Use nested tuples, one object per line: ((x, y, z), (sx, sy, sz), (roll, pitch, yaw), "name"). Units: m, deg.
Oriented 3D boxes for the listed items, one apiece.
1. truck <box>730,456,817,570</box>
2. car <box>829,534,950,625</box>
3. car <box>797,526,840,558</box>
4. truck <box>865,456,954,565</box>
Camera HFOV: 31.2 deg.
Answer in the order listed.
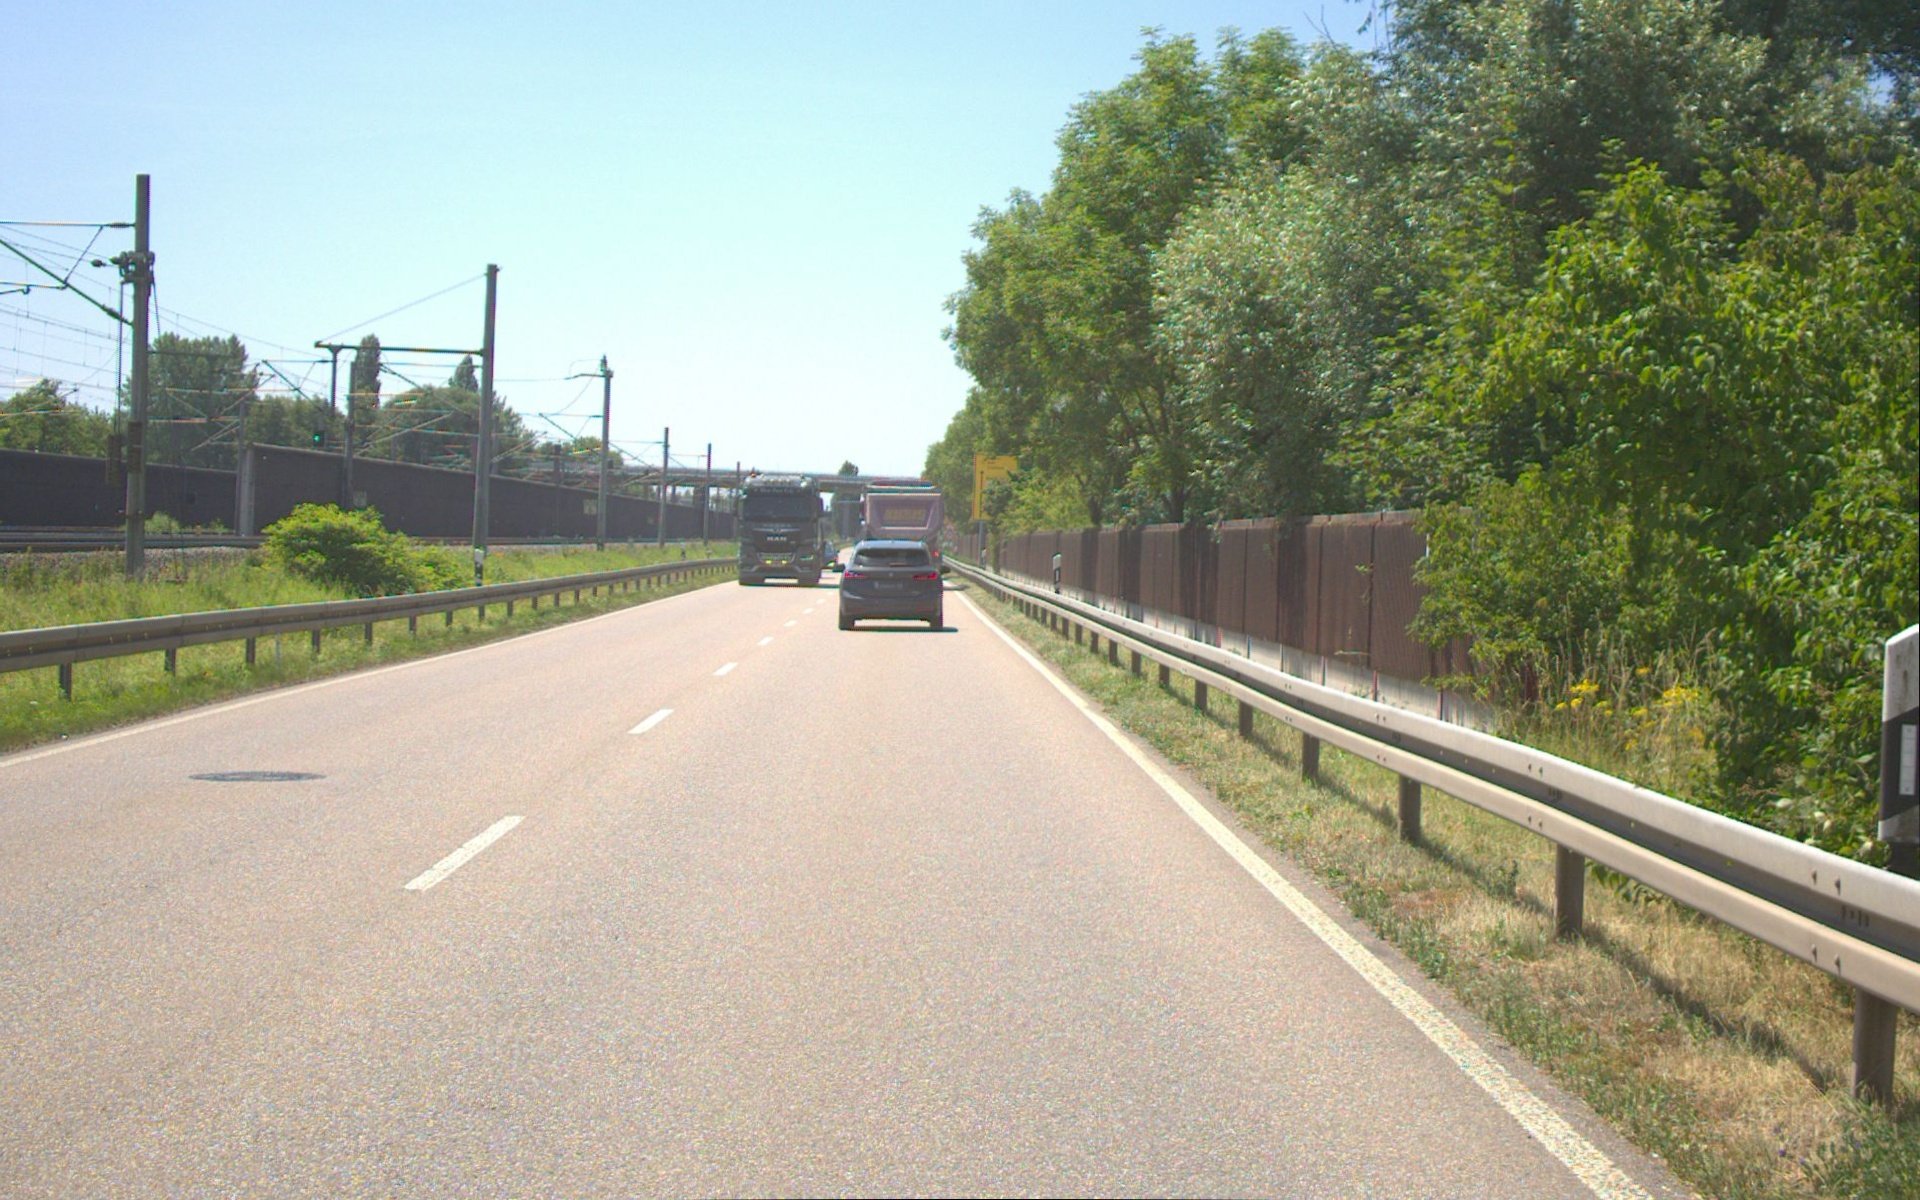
((-6.259, -2.960, 116.525), (2.658, 3.614, 10.979), (1, 1, -2), "truck")
((-1.285, -0.394, 60.660), (1.993, 1.503, 4.001), (1, 1, -3), "car")
((-6.929, -2.862, 169.030), (1.975, 1.503, 4.163), (1, 1, -1), "car")
((-1.697, -2.969, 114.852), (2.770, 3.413, 10.820), (1, 1, -1), "truck")
